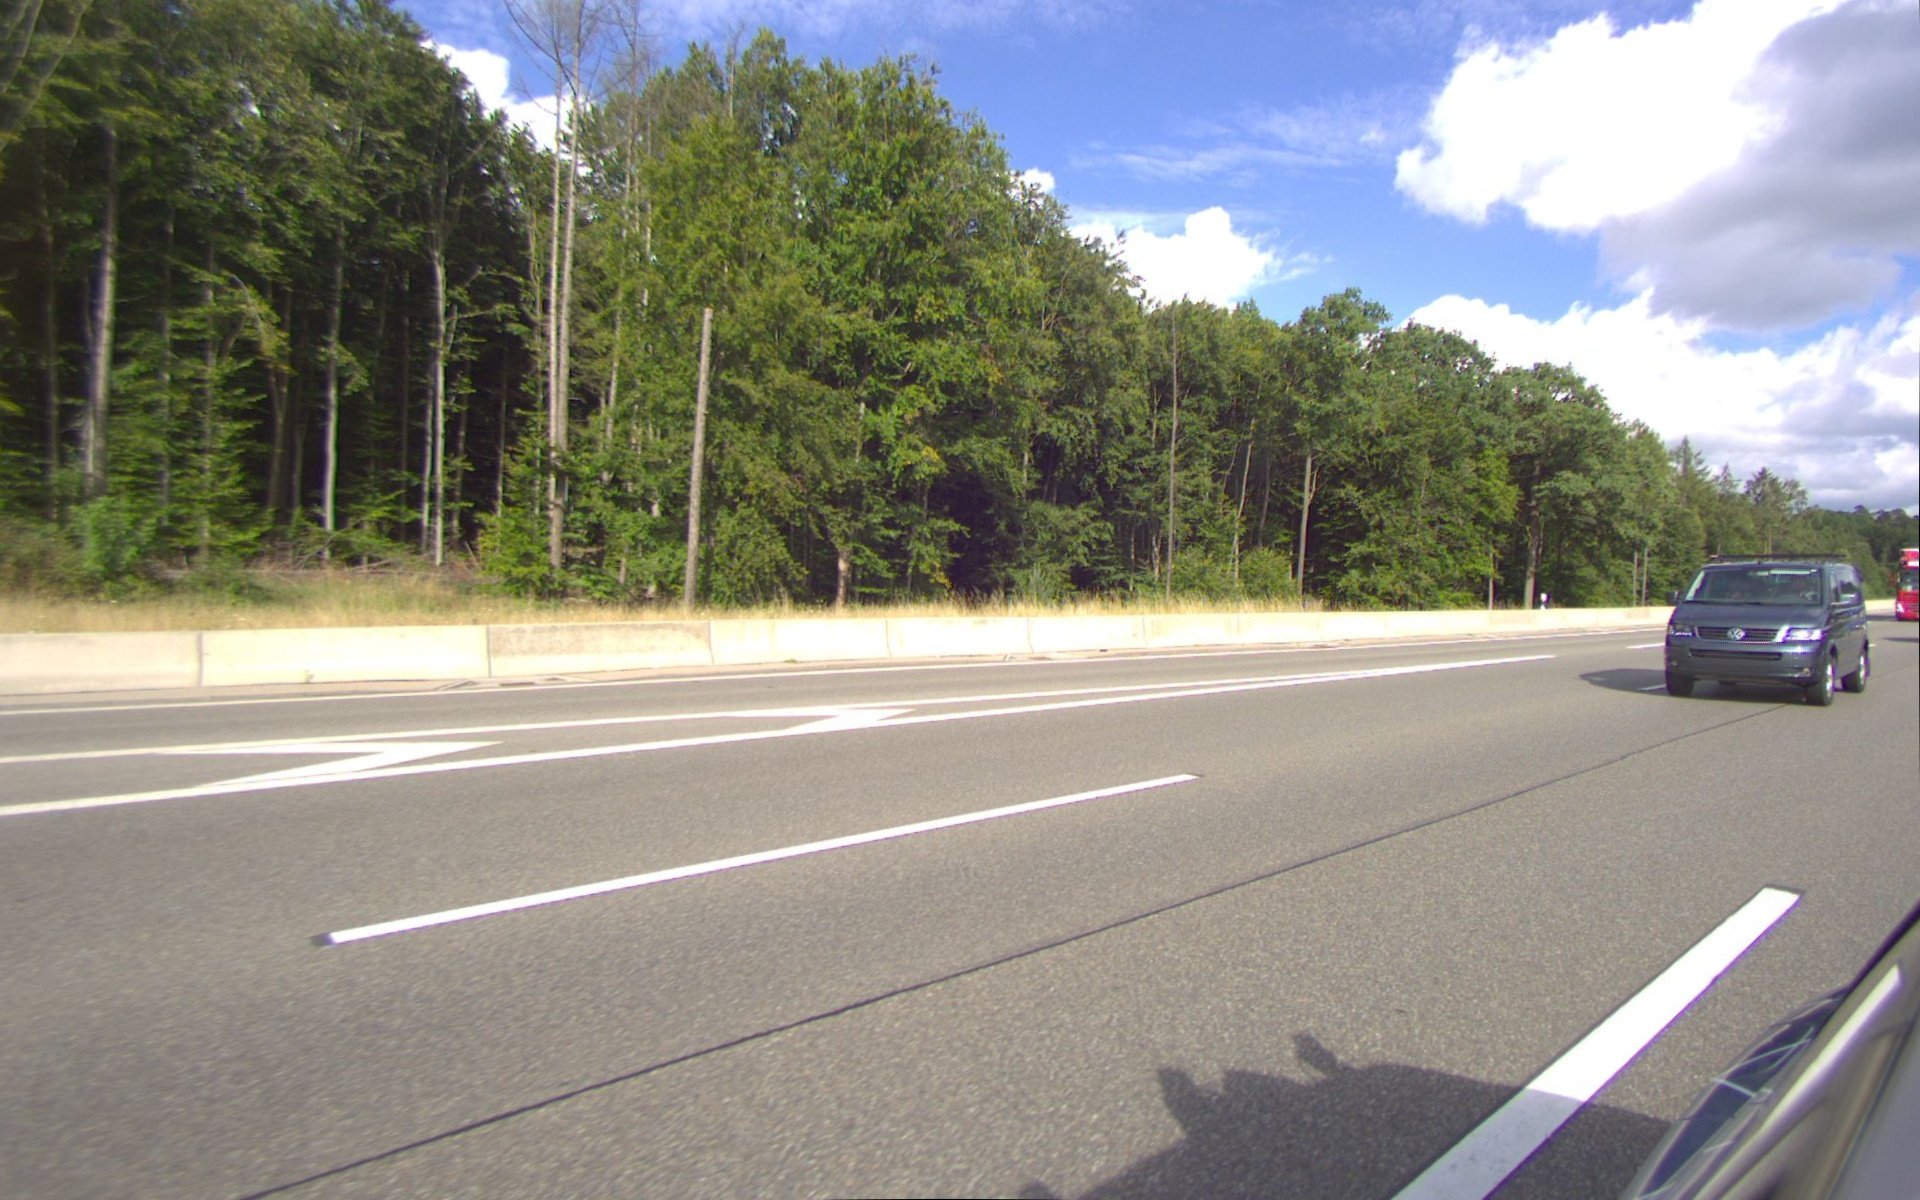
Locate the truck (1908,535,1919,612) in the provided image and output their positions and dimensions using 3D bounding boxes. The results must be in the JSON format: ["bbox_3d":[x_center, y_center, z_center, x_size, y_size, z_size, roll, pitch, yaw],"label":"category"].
[{"bbox_3d":[55.188,-1.488,56.706,4.573,4.254,2.531,-2,2,-41],"label":"truck"}]

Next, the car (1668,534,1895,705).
[{"bbox_3d":[12.587,0.198,15.384,4.876,2.192,1.925,-1,2,-42],"label":"car"}]

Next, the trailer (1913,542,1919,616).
[{"bbox_3d":[60.329,-1.328,61.201,14.128,4.170,2.529,-2,2,-41],"label":"trailer"}]
